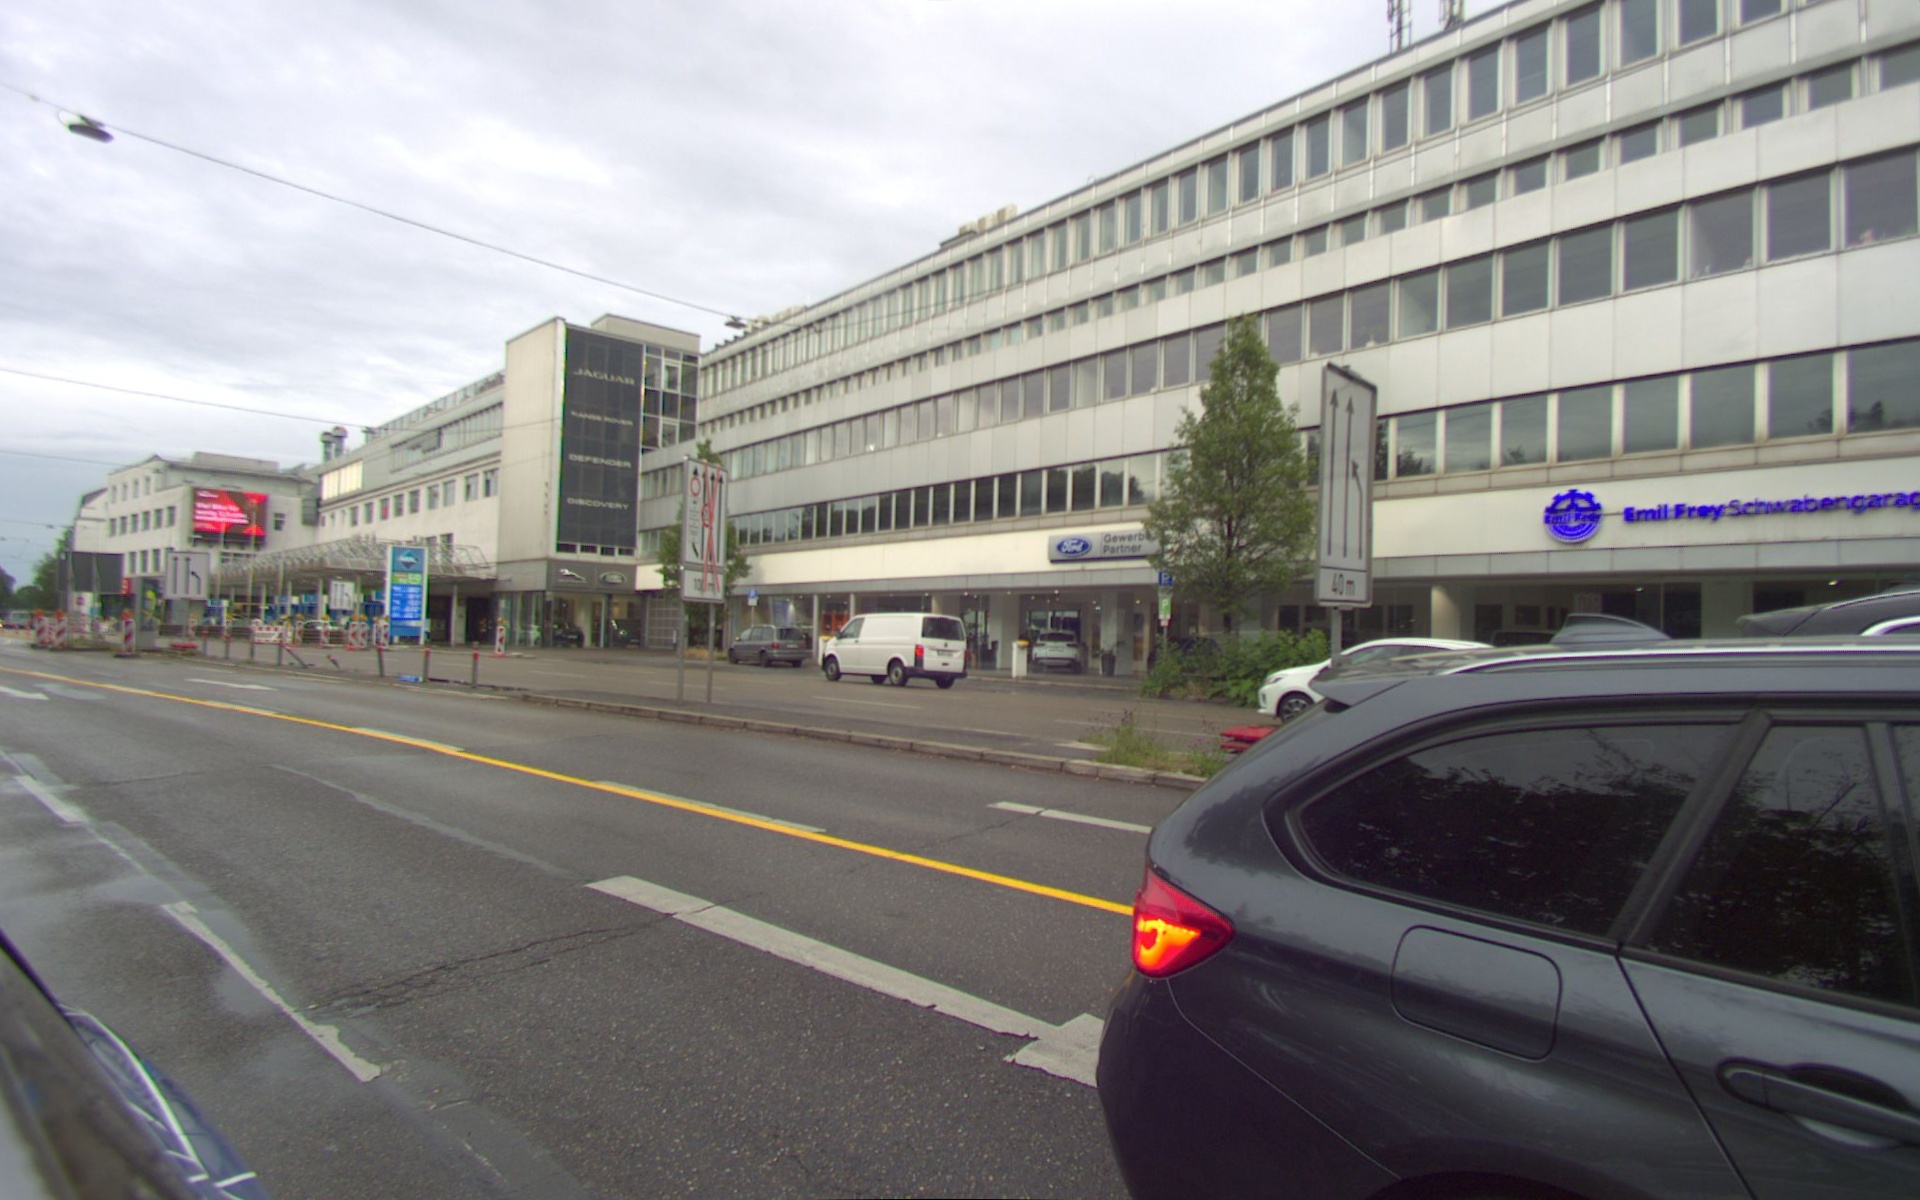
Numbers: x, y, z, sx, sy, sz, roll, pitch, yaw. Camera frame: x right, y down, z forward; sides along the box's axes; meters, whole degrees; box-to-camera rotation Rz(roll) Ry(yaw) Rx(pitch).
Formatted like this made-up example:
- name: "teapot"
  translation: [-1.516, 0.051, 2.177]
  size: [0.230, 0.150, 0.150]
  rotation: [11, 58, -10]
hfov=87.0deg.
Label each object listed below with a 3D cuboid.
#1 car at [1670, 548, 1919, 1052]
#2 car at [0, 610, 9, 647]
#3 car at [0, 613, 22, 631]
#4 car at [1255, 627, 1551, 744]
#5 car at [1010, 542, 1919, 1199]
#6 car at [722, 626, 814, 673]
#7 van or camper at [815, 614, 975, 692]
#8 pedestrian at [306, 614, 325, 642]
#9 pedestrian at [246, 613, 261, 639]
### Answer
- name: "car"
  translation: [4.900, 0.640, 2.927]
  size: [4.445, 1.668, 1.789]
  rotation: [-1, 0, 44]
- name: "car"
  translation: [-43.737, 1.272, 45.050]
  size: [3.948, 1.629, 1.747]
  rotation: [-1, 0, 43]
- name: "car"
  translation: [-94.004, 2.156, 100.079]
  size: [3.378, 1.657, 1.587]
  rotation: [-1, 0, 42]
- name: "car"
  translation: [6.620, 1.260, 15.287]
  size: [3.760, 1.544, 1.783]
  rotation: [-2, -6, 39]
- name: "car"
  translation: [2.338, 0.693, 1.078]
  size: [4.476, 1.469, 1.757]
  rotation: [-1, -3, 42]
- name: "car"
  translation: [-8.225, 2.073, 43.204]
  size: [1.895, 1.829, 4.169]
  rotation: [-1, 0, -44]
- name: "van or camper"
  translation: [-1.873, 1.399, 27.868]
  size: [1.912, 1.938, 4.690]
  rotation: [2, -3, -41]
- name: "pedestrian"
  translation: [-42.591, 1.858, 66.845]
  size: [0.882, 1.828, 0.942]
  rotation: [-1, 0, -45]
- name: "pedestrian"
  translation: [-51.245, 1.865, 73.411]
  size: [0.881, 1.828, 0.943]
  rotation: [-1, 0, -35]
